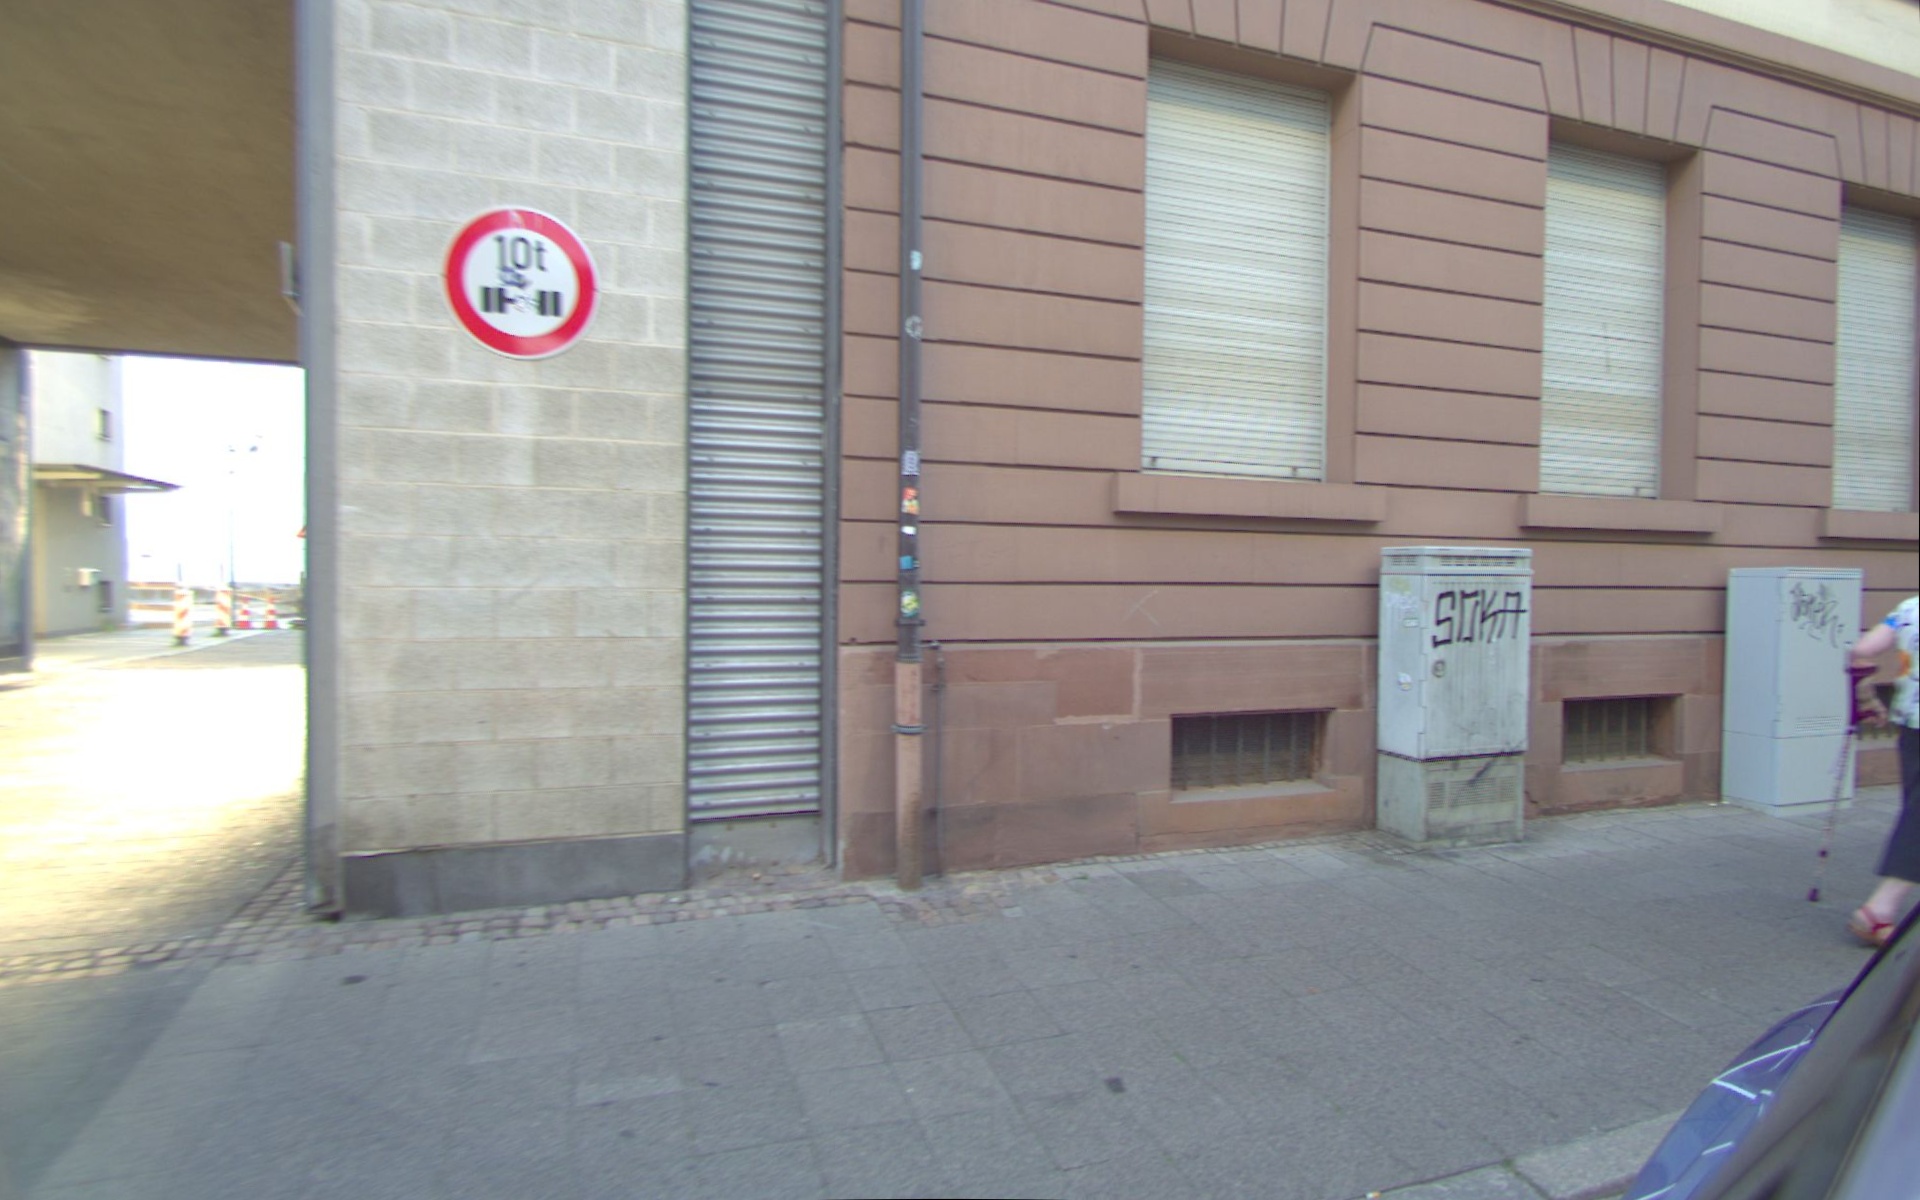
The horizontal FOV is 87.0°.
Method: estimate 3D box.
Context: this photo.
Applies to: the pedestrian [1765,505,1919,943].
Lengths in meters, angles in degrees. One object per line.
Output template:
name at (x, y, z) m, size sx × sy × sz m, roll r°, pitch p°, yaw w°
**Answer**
pedestrian at (4.067, 0.474, 4.178) m, size 0.920 × 1.691 × 0.806 m, roll 2°, pitch 2°, yaw 23°
